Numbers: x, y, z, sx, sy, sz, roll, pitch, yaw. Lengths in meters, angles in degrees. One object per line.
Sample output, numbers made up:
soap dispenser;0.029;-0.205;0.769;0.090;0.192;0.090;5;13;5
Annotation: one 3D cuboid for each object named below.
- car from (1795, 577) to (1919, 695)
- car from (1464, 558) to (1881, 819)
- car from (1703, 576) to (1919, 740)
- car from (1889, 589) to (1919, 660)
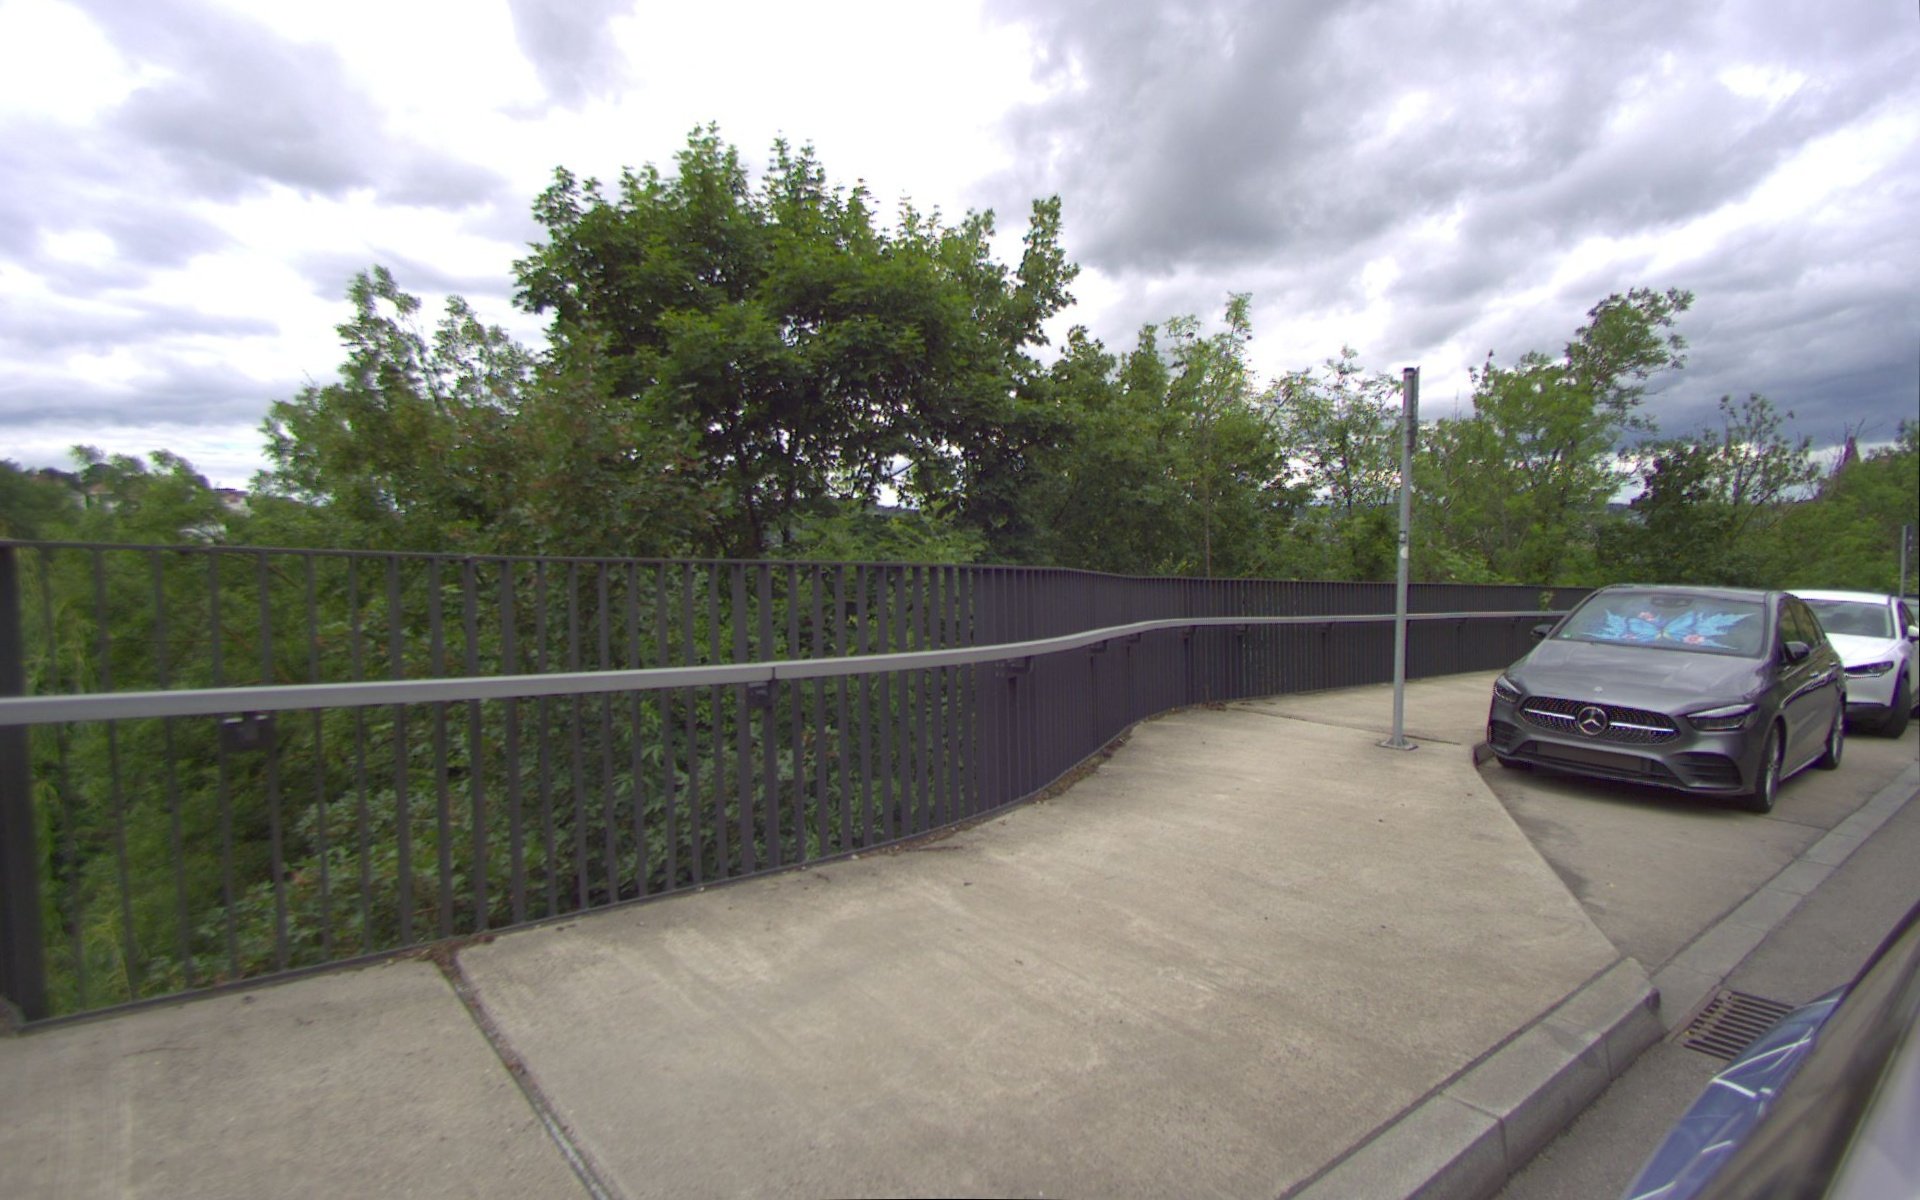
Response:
car;14.774;0.486;16.008;4.181;1.591;1.663;-1;4;-41
car;6.070;0.510;8.412;4.350;1.562;1.761;-1;4;-41
car;10.680;0.534;12.236;4.544;1.588;1.730;-1;3;-41
car;21.370;0.524;21.588;4.245;1.418;1.827;-1;4;-42
